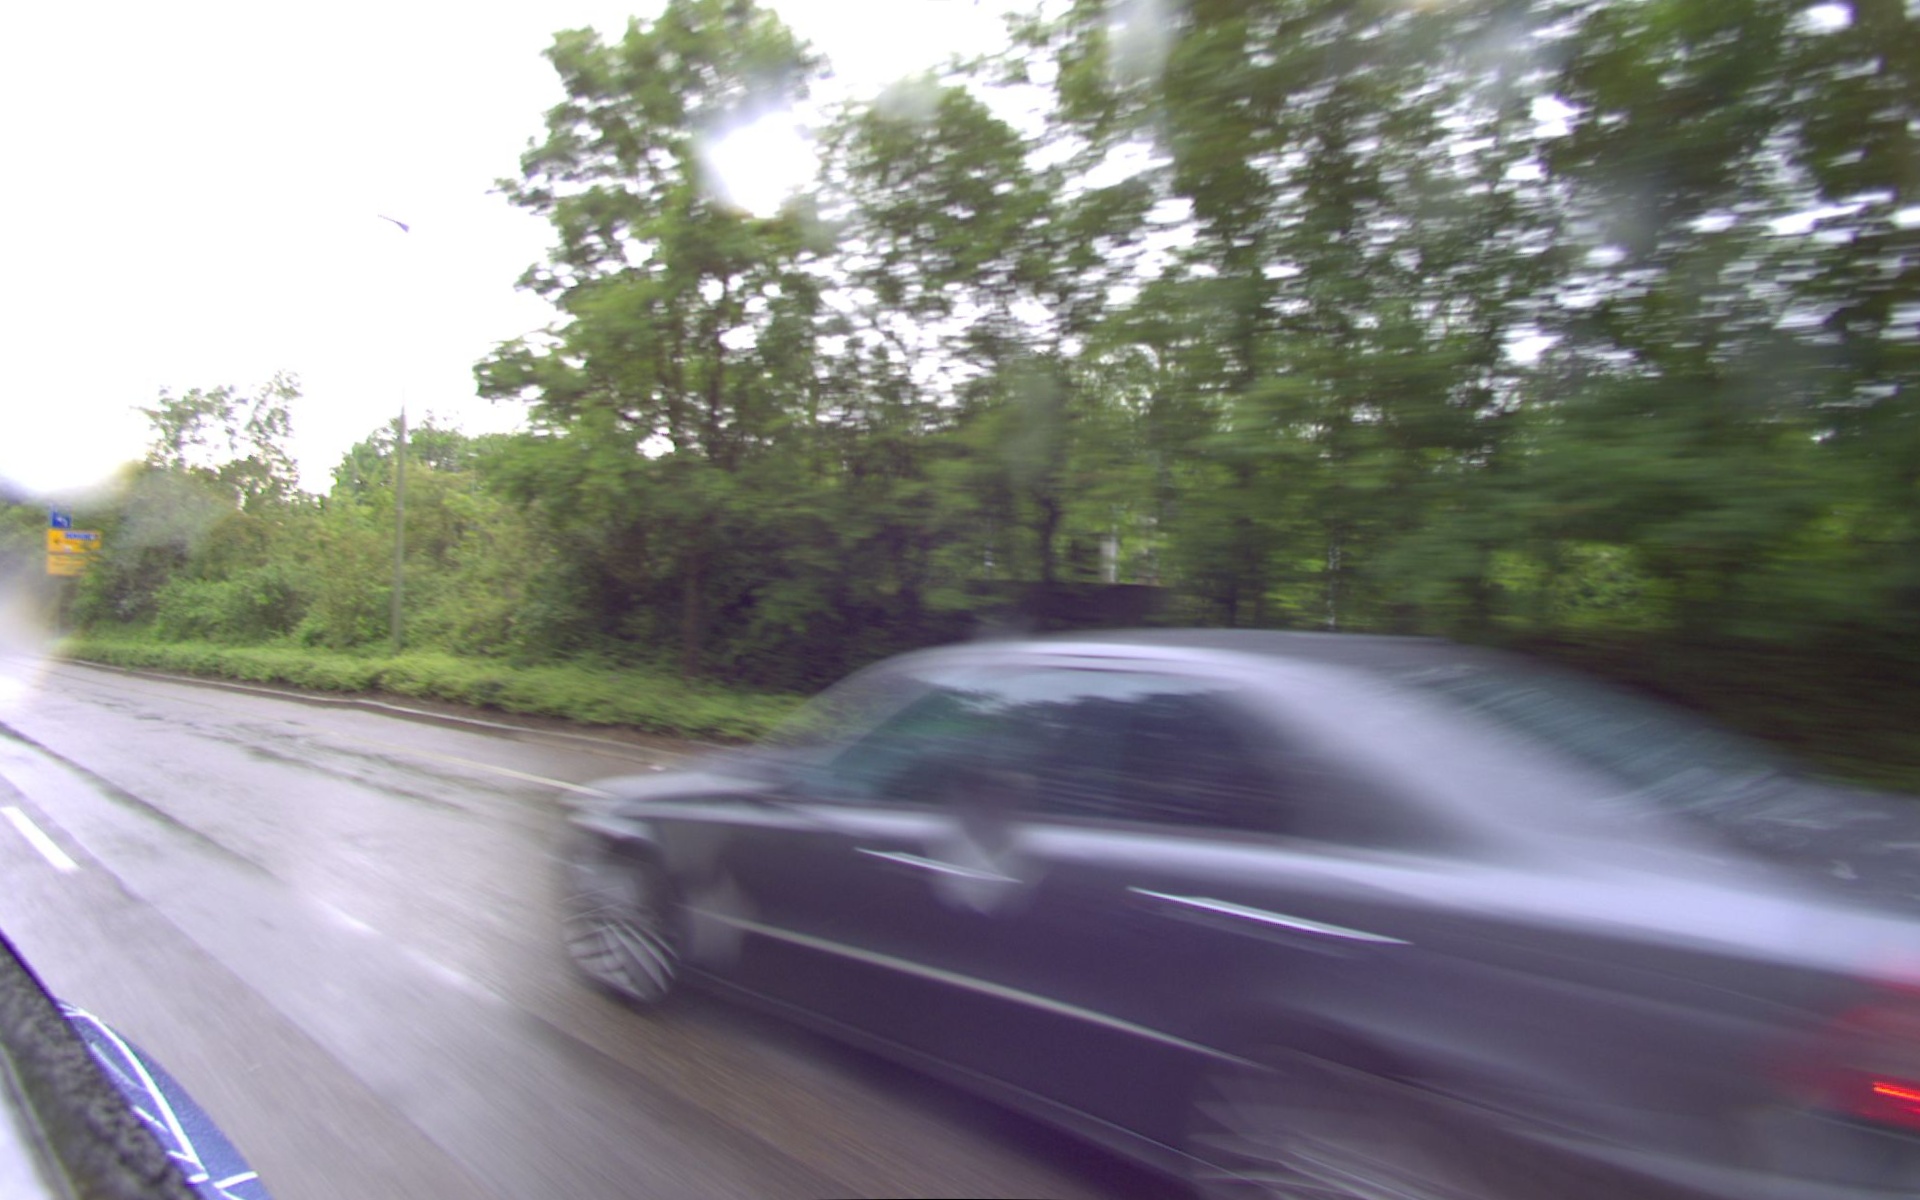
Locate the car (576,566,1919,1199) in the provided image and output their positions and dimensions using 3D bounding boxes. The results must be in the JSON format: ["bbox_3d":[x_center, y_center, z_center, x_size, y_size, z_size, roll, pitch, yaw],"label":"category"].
[{"bbox_3d":[0.813,0.669,3.161,4.248,1.374,1.973,-1,-1,40],"label":"car"}]
